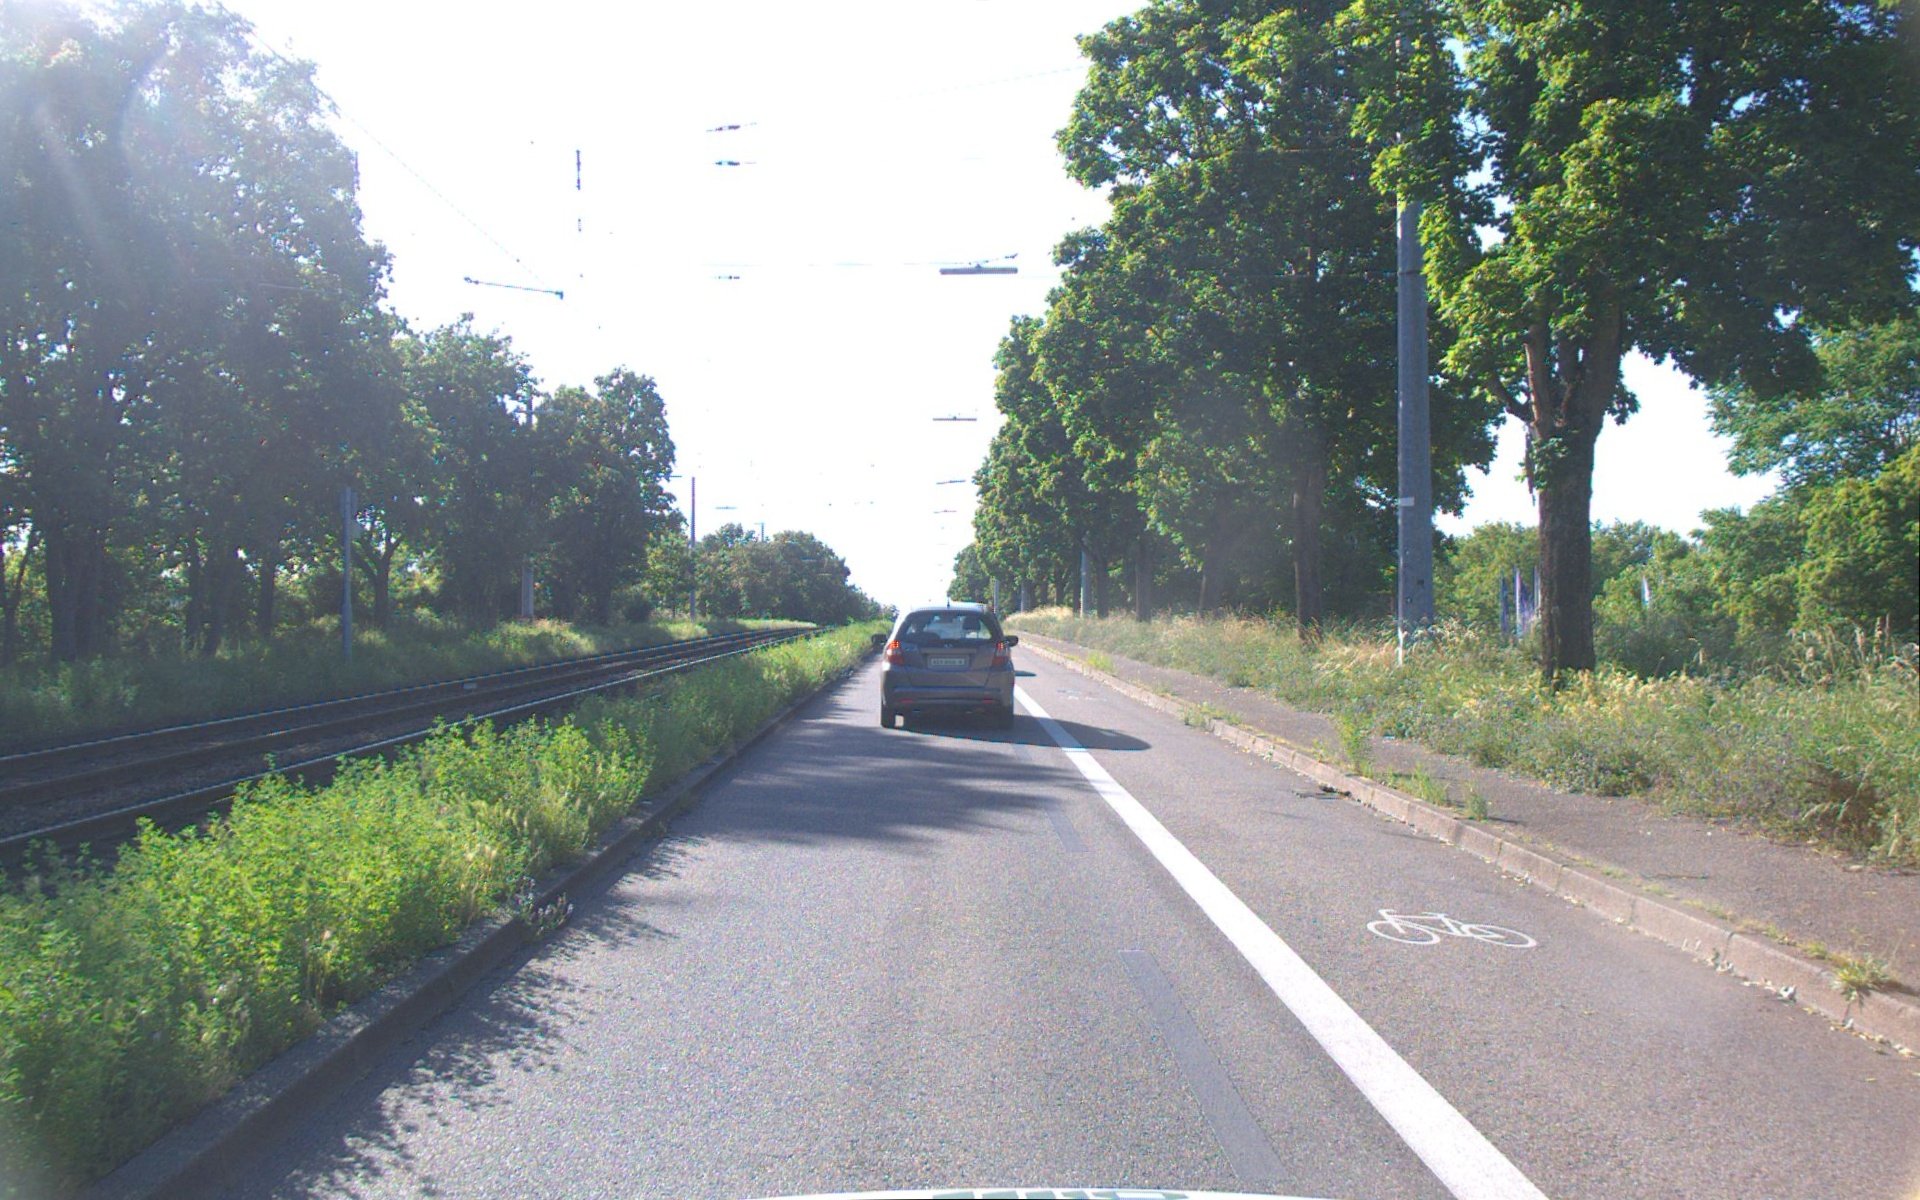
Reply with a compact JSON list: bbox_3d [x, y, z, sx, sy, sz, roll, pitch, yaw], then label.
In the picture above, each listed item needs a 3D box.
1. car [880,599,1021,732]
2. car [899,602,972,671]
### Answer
[{"bbox_3d":[-0.159,0.792,21.485,1.636,1.534,3.809,1,-1,-1],"label":"car"},{"bbox_3d":[-0.573,0.843,39.645,1.621,1.534,3.810,1,-1,0],"label":"car"}]
